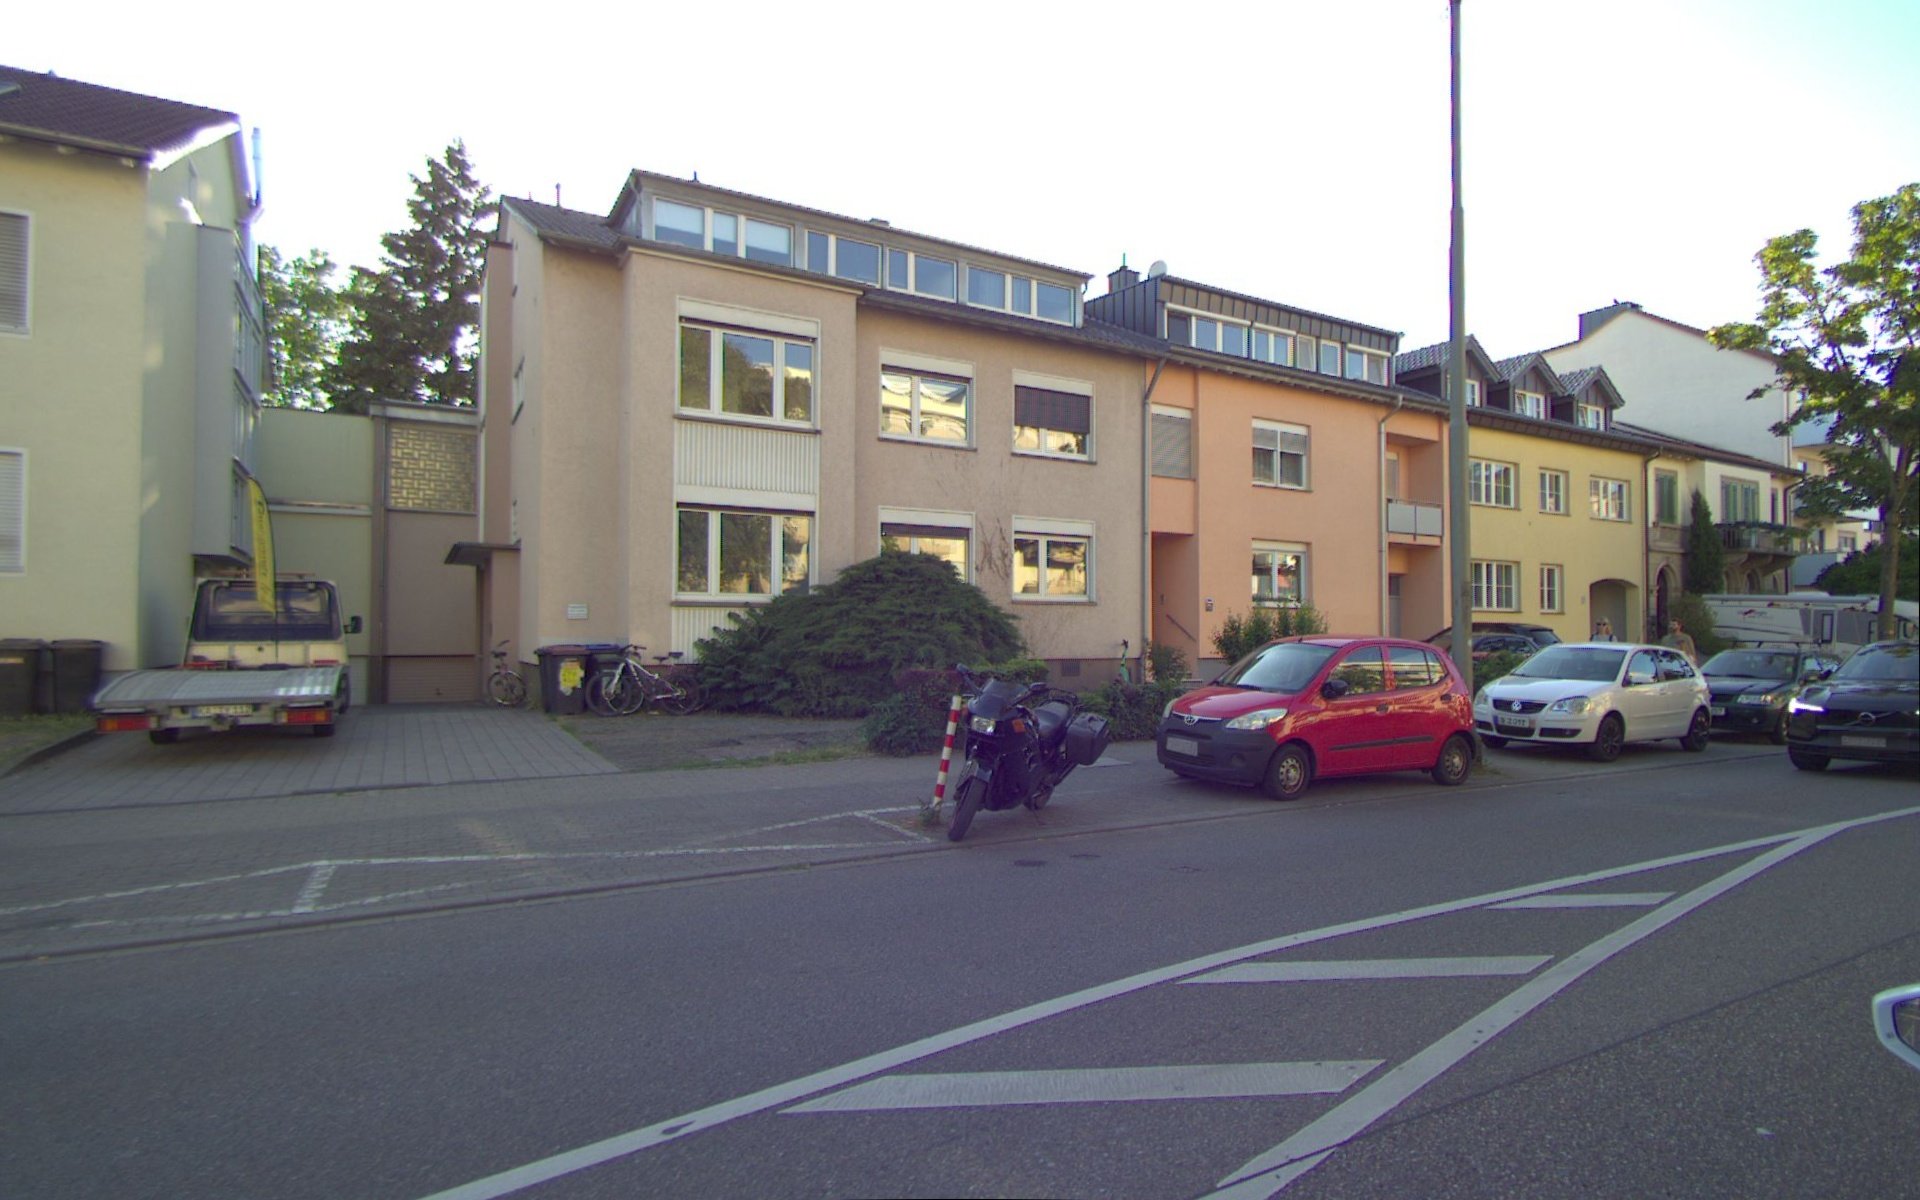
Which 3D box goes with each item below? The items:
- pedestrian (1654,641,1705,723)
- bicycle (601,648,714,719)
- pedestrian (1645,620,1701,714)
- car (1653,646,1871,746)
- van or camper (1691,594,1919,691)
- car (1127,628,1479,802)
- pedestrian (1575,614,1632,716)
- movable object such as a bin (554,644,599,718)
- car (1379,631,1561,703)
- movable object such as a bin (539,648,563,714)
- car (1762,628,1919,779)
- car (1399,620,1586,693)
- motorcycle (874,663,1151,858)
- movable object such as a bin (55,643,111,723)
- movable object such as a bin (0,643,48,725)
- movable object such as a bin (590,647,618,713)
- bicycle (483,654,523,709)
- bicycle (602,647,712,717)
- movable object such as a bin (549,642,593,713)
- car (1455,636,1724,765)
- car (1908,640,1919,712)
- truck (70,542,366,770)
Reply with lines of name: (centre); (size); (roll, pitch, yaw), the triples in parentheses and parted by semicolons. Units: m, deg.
pedestrian: (13.641, 1.538, 19.042); (0.535, 1.515, 0.588); (1, -2, -27)
bicycle: (-4.819, 1.313, 16.065); (1.691, 1.100, 0.331); (2, -2, -31)
pedestrian: (14.098, 1.312, 19.870); (0.564, 1.816, 0.711); (1, -2, -27)
car: (12.824, 1.448, 16.031); (3.623, 1.415, 1.536); (2, -2, -30)
van or camper: (27.783, 1.257, 32.118); (2.324, 2.810, 6.764); (1, 0, -30)
car: (3.578, 1.085, 10.442); (3.392, 1.543, 1.587); (1, -2, -27)
pedestrian: (11.734, 1.175, 18.332); (0.499, 1.816, 0.711); (1, -2, -27)
movable object such as a bin: (-5.959, 1.242, 15.590); (0.579, 1.104, 0.486); (1, -2, -30)
car: (10.855, 1.393, 21.352); (3.706, 1.427, 1.658); (1, -3, -29)
movable object such as a bin: (-6.611, 1.299, 16.227); (0.285, 1.051, 0.501); (1, -2, -30)
car: (11.609, 1.181, 12.015); (3.954, 1.590, 1.827); (2, -4, -31)
car: (13.820, 1.409, 26.291); (1.843, 1.657, 3.970); (1, 0, -28)
motorcycle: (0.513, 1.179, 8.196); (1.164, 1.282, 2.362); (-1, -3, 36)
movable object such as a bin: (-11.591, 1.088, 13.285); (0.445, 1.032, 0.500); (1, -2, -30)
movable object such as a bin: (-12.122, 1.072, 12.924); (0.445, 1.032, 0.500); (1, -2, -30)
movable object such as a bin: (-5.840, 1.303, 16.460); (0.345, 1.051, 0.433); (1, -2, -30)
bicycle: (-8.269, 1.468, 18.158); (0.582, 0.942, 1.589); (1, -5, -27)
bicycle: (-4.936, 1.313, 16.417); (1.691, 1.100, 0.331); (2, -2, -31)
movable object such as a bin: (-6.259, 1.234, 16.159); (0.579, 1.104, 0.486); (1, -2, -30)
car: (8.681, 1.278, 13.792); (3.847, 1.543, 1.585); (2, -2, -31)
car: (22.608, 1.672, 21.715); (4.463, 1.514, 1.859); (2, -1, -30)
truck: (-9.290, 0.659, 13.289); (2.249, 2.214, 6.864); (1, -2, -29)
